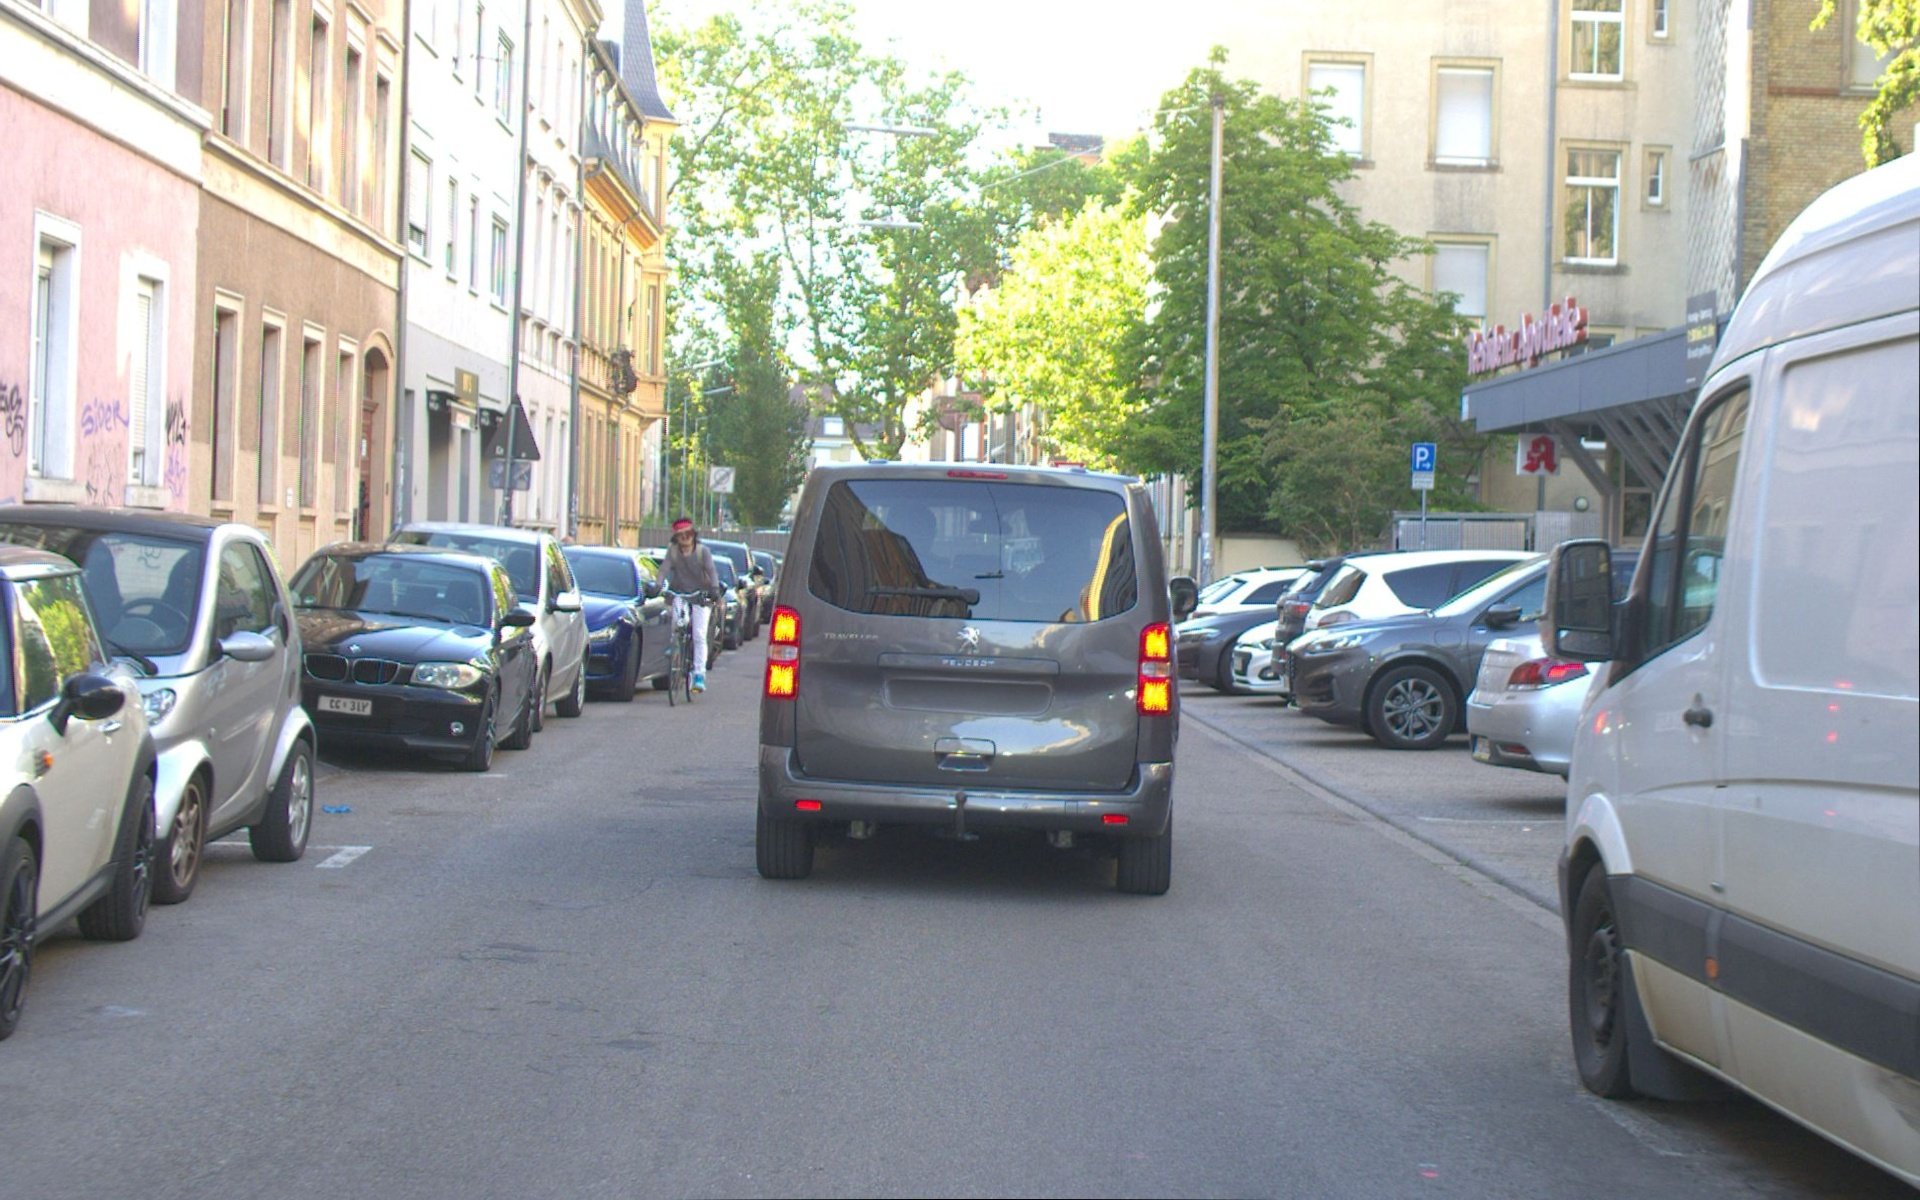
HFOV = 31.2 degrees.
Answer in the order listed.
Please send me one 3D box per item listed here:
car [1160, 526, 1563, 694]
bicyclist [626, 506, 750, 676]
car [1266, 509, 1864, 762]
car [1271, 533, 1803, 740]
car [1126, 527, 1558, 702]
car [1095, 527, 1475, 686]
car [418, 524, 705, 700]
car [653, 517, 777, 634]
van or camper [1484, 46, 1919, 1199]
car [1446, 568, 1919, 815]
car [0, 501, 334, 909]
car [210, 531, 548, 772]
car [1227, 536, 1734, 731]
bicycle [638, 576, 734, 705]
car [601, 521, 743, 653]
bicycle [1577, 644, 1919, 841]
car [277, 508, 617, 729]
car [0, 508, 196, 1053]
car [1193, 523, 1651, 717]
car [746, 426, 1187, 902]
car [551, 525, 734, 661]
[{"bbox_3d":[4.972,0.111,42.957,4.568,1.852,2.001,2,1,-8],"label":"car"},{"bbox_3d":[-2.577,-0.095,32.635,1.034,1.572,0.833,1,1,3],"label":"bicyclist"},{"bbox_3d":[5.016,0.274,28.973,4.569,1.852,2.000,3,1,-2],"label":"car"},{"bbox_3d":[5.276,0.314,31.765,4.454,1.670,1.797,3,1,-6],"label":"car"},{"bbox_3d":[4.394,0.152,39.972,4.568,1.786,2.001,2,1,-8],"label":"car"},{"bbox_3d":[4.252,0.075,45.377,4.568,1.852,2.001,2,1,-8],"label":"car"},{"bbox_3d":[-3.894,0.074,34.372,1.994,1.555,4.584,3,1,4],"label":"car"},{"bbox_3d":[-4.254,-0.456,59.745,1.993,1.852,4.586,3,1,-4],"label":"car"},{"bbox_3d":[2.957,0.178,7.547,2.099,2.593,7.513,1,1,-3],"label":"van or camper"},{"bbox_3d":[5.550,0.540,21.847,4.625,1.461,1.841,0,1,-1],"label":"car"},{"bbox_3d":[-3.663,0.367,14.541,1.386,1.526,2.749,3,1,2],"label":"car"},{"bbox_3d":[-3.870,0.278,23.559,1.788,1.393,4.468,3,1,-4],"label":"car"},{"bbox_3d":[5.167,0.314,34.440,4.568,1.699,2.001,2,1,-8],"label":"car"},{"bbox_3d":[-2.561,0.358,32.340,0.621,1.134,2.257,1,1,2],"label":"bicycle"},{"bbox_3d":[-4.366,-0.234,52.570,1.993,1.852,4.586,3,1,-4],"label":"car"},{"bbox_3d":[4.592,0.815,19.943,1.899,1.063,0.678,1,1,3],"label":"bicycle"},{"bbox_3d":[-4.140,0.102,28.467,1.993,1.599,4.585,3,1,1],"label":"car"},{"bbox_3d":[-3.626,0.433,11.126,1.710,1.492,3.856,3,1,-5],"label":"car"},{"bbox_3d":[4.931,0.202,37.050,4.472,1.852,1.885,2,1,-8],"label":"car"},{"bbox_3d":[0.053,0.230,16.553,1.857,2.007,4.000,0,1,1],"label":"car"},{"bbox_3d":[-4.005,-0.130,43.976,2.144,1.555,4.586,3,1,-4],"label":"car"}]
